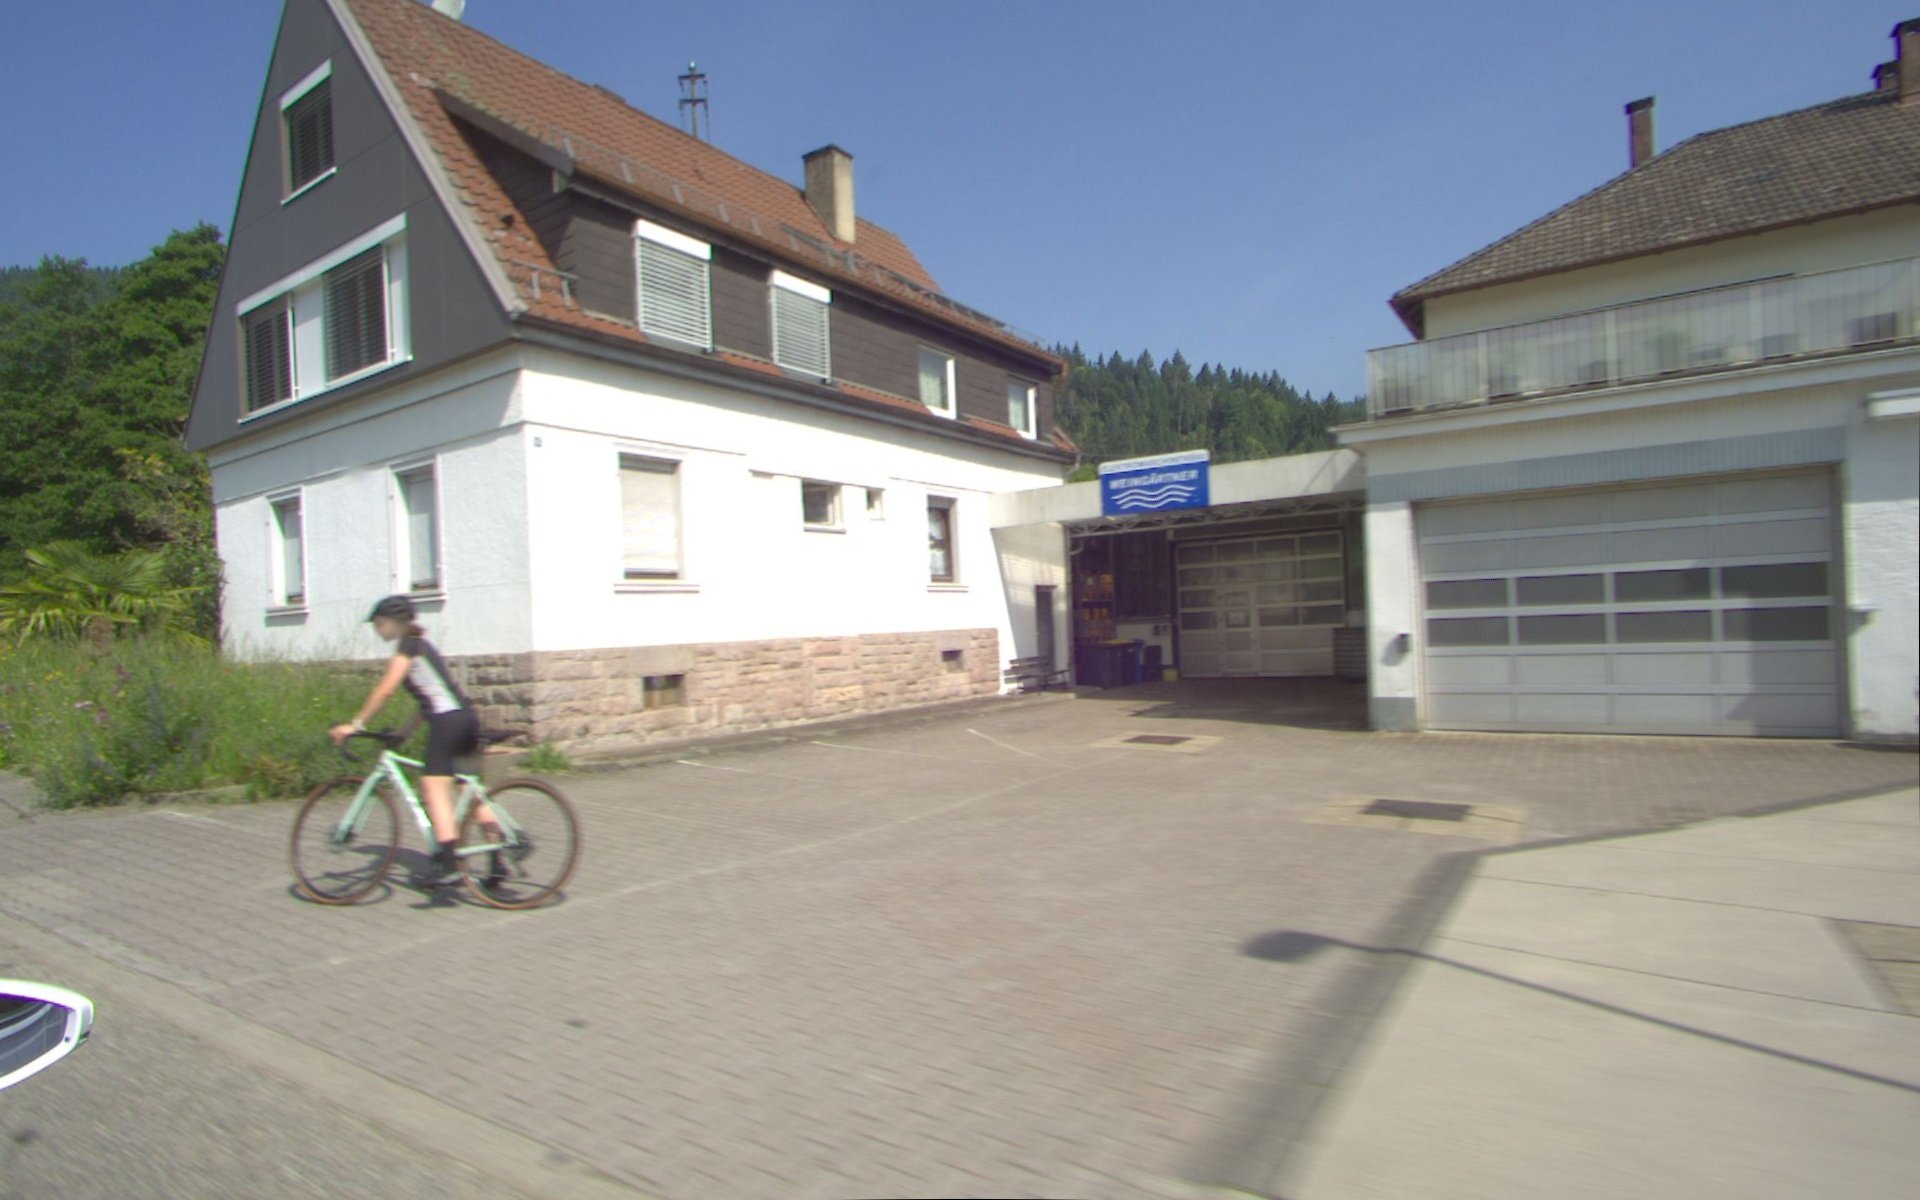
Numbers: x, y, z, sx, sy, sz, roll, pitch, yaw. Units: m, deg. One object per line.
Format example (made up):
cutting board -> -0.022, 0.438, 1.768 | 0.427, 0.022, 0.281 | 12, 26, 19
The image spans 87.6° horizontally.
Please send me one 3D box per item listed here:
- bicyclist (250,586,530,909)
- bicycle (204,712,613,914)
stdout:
bicyclist -> -3.149, 0.782, 5.611 | 1.118, 1.653, 0.690 | 2, -1, 4
bicycle -> -3.031, 1.149, 5.612 | 1.911, 0.929, 0.691 | 2, -1, 4
